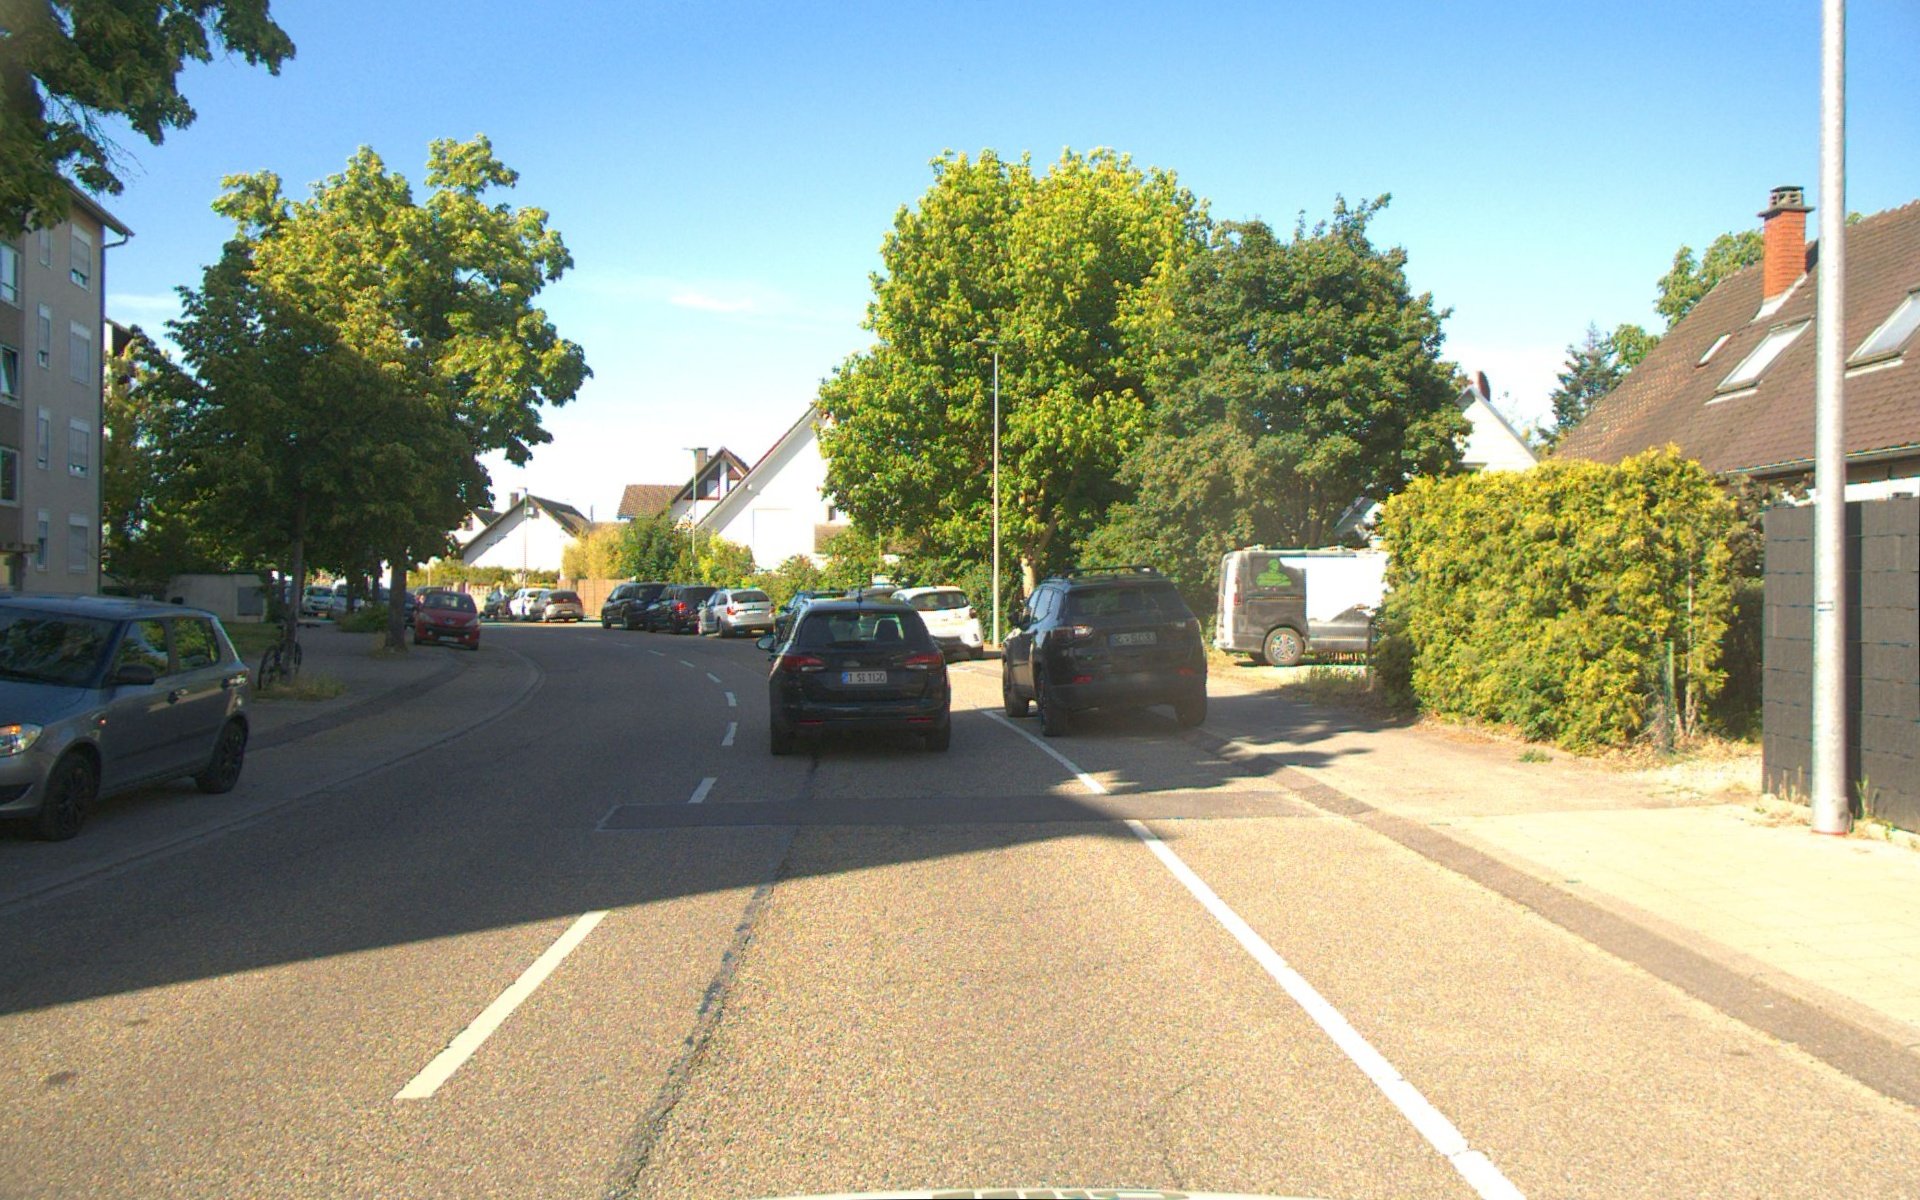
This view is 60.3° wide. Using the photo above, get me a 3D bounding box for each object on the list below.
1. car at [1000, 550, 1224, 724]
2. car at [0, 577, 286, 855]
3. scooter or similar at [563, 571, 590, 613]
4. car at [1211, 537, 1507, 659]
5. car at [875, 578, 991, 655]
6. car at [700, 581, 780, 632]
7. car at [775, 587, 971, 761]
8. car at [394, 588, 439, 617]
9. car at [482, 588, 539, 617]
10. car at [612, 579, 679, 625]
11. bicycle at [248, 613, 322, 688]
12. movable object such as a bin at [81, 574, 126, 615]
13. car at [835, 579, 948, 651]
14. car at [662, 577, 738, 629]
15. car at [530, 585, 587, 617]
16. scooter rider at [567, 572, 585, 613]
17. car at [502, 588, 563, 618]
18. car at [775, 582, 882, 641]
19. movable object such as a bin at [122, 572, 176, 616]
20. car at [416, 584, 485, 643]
[{"bbox_3d":[1.602,0.391,18.909,1.744,1.754,4.288,0,0,-6],"label":"car"},{"bbox_3d":[-6.447,0.677,11.894,1.536,1.556,3.917,5,0,-1],"label":"car"},{"bbox_3d":[-19.637,-0.411,84.608,0.677,2.049,2.936,1,-2,-26],"label":"scooter or similar"},{"bbox_3d":[6.810,-0.021,28.594,4.586,2.018,2.142,0,-1,-2],"label":"car"},{"bbox_3d":[-0.633,0.338,34.473,1.729,1.506,4.283,0,0,-11],"label":"car"},{"bbox_3d":[-7.094,0.211,52.992,1.792,1.561,4.236,0,0,-18],"label":"car"},{"bbox_3d":[-1.016,0.685,17.062,1.728,1.517,4.285,2,-1,-6],"label":"car"},{"bbox_3d":[-34.016,0.175,103.511,1.983,1.754,4.254,0,0,-28],"label":"car"},{"bbox_3d":[-23.123,0.135,84.980,1.895,1.432,4.252,0,0,-29],"label":"car"},{"bbox_3d":[-12.056,0.083,63.239,1.875,1.695,4.166,0,0,-20],"label":"car"},{"bbox_3d":[-9.528,0.693,23.405,0.360,0.986,1.884,0,0,-3],"label":"bicycle"},{"bbox_3d":[-29.132,-0.187,56.284,1.154,1.345,1.082,1,-2,-18],"label":"movable object such as a bin"},{"bbox_3d":[-1.704,0.346,39.591,1.879,1.628,4.278,0,0,-14],"label":"car"},{"bbox_3d":[-9.185,0.124,58.087,1.975,1.754,4.271,0,0,-18],"label":"car"},{"bbox_3d":[-18.243,0.064,75.051,1.890,1.432,4.264,0,0,-23],"label":"car"},{"bbox_3d":[-19.645,-0.365,84.618,0.677,2.049,0.812,1,-2,-28],"label":"scooter rider"},{"bbox_3d":[-20.896,0.144,80.769,1.895,1.432,4.252,0,0,-29],"label":"car"},{"bbox_3d":[-3.604,0.317,44.534,1.974,1.501,4.272,0,0,-18],"label":"car"},{"bbox_3d":[-27.820,-0.195,56.731,1.494,1.452,1.082,1,-2,-18],"label":"movable object such as a bin"},{"bbox_3d":[-14.118,0.367,45.708,1.663,1.517,4.267,2,-1,-19],"label":"car"}]
